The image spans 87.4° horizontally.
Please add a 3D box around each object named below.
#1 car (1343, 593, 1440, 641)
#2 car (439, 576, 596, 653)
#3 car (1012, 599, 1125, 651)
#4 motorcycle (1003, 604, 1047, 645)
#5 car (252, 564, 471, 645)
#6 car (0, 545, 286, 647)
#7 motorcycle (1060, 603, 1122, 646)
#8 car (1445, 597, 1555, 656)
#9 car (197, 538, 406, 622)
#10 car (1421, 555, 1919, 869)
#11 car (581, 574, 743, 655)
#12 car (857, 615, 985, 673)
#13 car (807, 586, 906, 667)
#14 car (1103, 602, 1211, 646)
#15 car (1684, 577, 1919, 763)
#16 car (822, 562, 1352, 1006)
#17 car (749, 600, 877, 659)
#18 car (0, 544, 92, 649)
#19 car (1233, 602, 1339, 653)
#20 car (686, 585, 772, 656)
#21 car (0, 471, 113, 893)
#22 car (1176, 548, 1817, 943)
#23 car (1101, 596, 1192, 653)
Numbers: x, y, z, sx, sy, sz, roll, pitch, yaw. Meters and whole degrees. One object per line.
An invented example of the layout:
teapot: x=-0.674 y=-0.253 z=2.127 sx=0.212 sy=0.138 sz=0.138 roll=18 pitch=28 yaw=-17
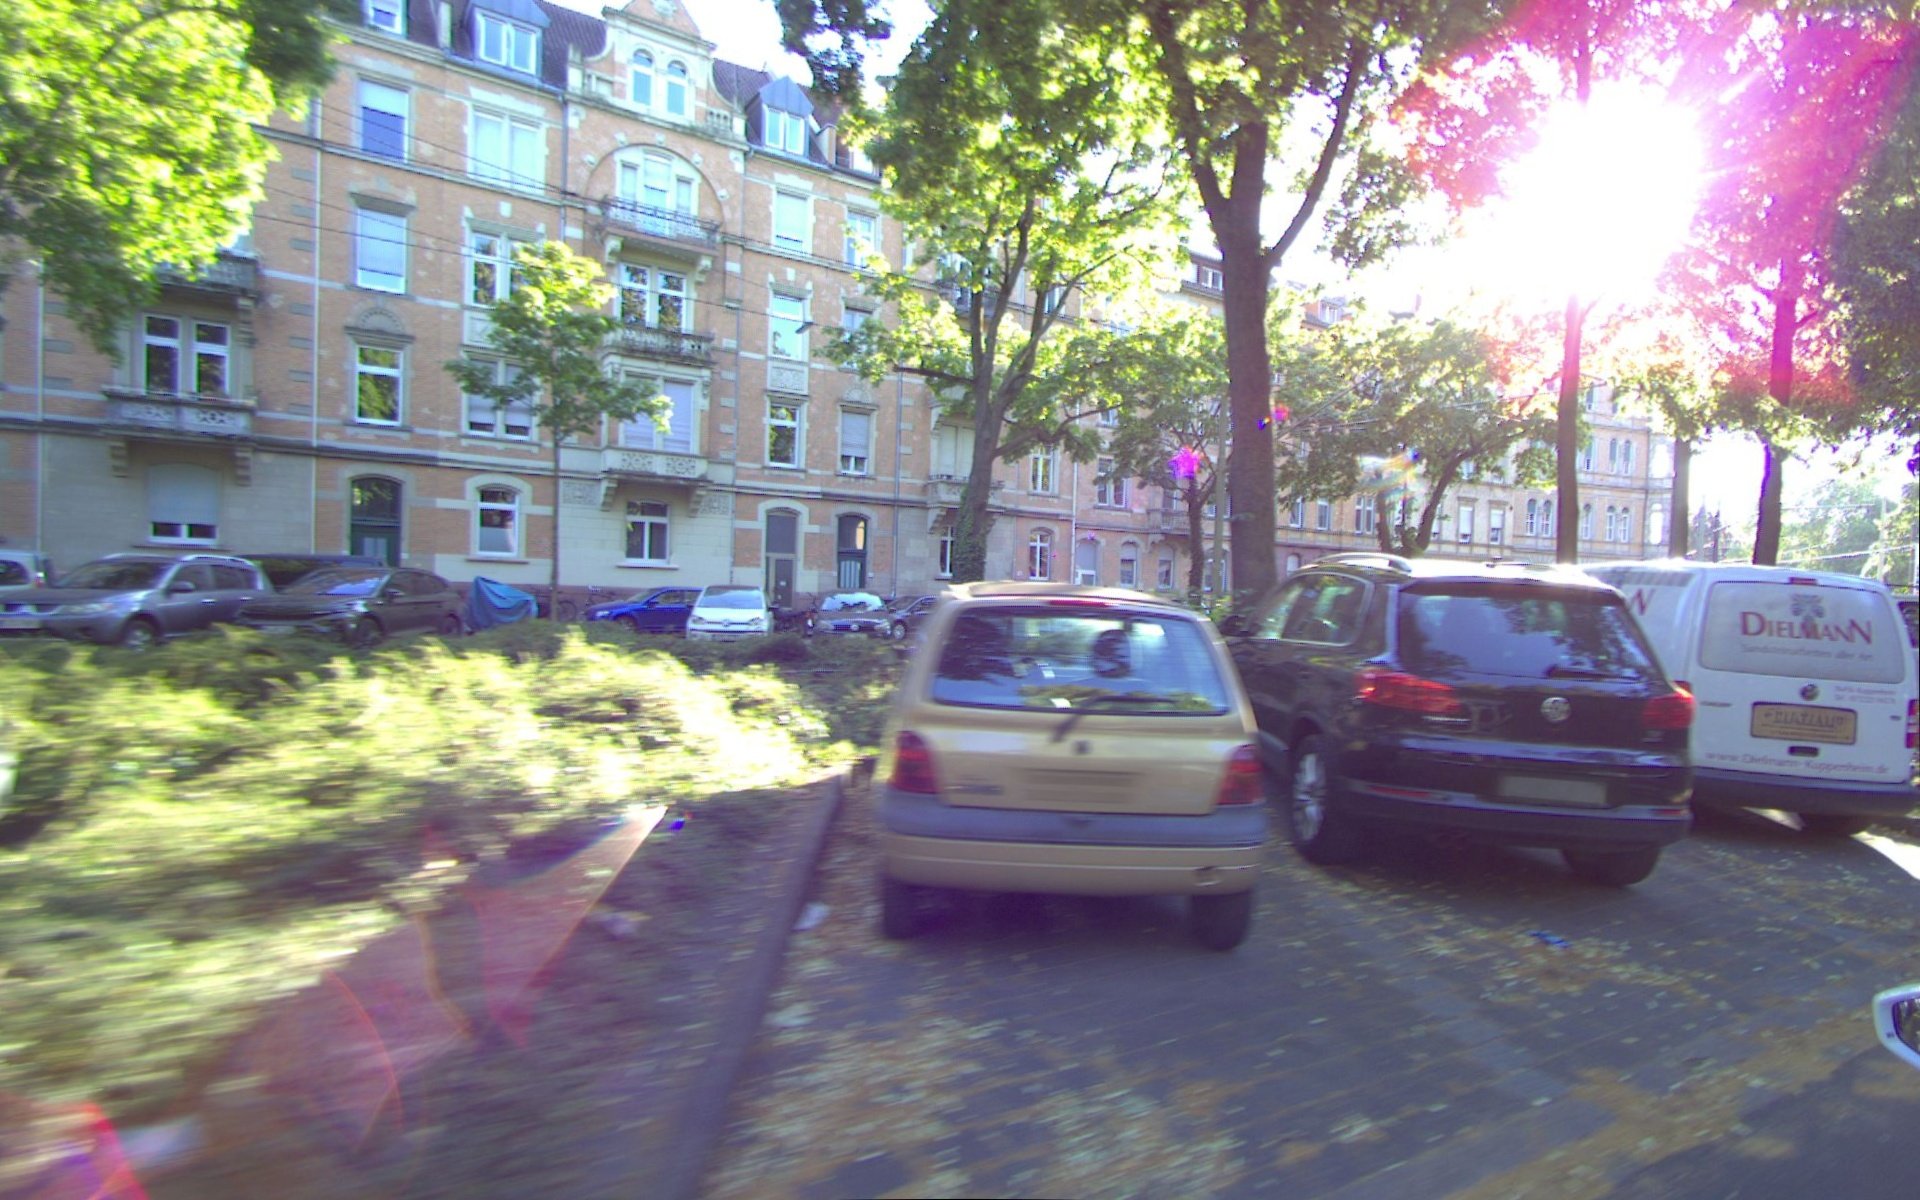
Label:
car: x=20.755 y=0.771 z=48.252 sx=4.948 sy=2.091 sz=1.840 roll=0 pitch=4 yaw=-34
car: x=-11.546 y=0.351 z=26.230 sx=3.472 sy=1.807 sz=1.839 roll=0 pitch=4 yaw=-34
car: x=4.040 y=0.930 z=37.194 sx=3.959 sy=1.799 sz=1.782 roll=1 pitch=0 yaw=-35
motorcycle: x=1.588 y=0.576 z=24.163 sx=1.000 sy=0.901 sz=1.978 roll=2 pitch=0 yaw=5
car: x=-10.075 y=0.054 z=17.306 sx=1.471 sy=1.183 sz=4.202 roll=2 pitch=0 yaw=-4
car: x=-12.487 y=-0.067 z=15.426 sx=1.604 sy=1.327 sz=4.187 roll=2 pitch=0 yaw=-3
motorcycle: x=3.231 y=0.594 z=24.888 sx=1.002 sy=0.968 sz=1.723 roll=1 pitch=0 yaw=-11
car: x=20.243 y=0.931 z=37.845 sx=1.961 sy=2.040 sz=4.000 roll=2 pitch=0 yaw=0
car: x=-15.455 y=-0.396 z=23.759 sx=3.983 sy=1.806 sz=1.839 roll=1 pitch=-2 yaw=-34
car: x=5.525 y=0.598 z=8.117 sx=1.846 sy=1.805 sz=4.161 roll=4 pitch=3 yaw=5
car: x=-8.366 y=0.366 z=28.260 sx=3.958 sy=2.041 sz=1.981 roll=0 pitch=4 yaw=-34
car: x=-1.278 y=1.436 z=33.457 sx=3.959 sy=1.799 sz=1.782 roll=1 pitch=-2 yaw=-35
car: x=-2.313 y=0.538 z=22.386 sx=1.962 sy=1.599 sz=3.996 roll=2 pitch=0 yaw=-6
car: x=7.765 y=0.914 z=39.583 sx=4.017 sy=1.539 sz=1.839 roll=0 pitch=4 yaw=-34
car: x=10.771 y=0.784 z=10.861 sx=1.949 sy=1.805 sz=4.998 roll=3 pitch=3 yaw=-3
car: x=0.438 y=0.602 z=5.281 sx=1.798 sy=1.445 sz=3.426 roll=3 pitch=3 yaw=-1
car: x=-4.543 y=0.887 z=31.193 sx=3.472 sy=1.604 sz=1.839 roll=0 pitch=4 yaw=-34
car: x=-20.507 y=-0.103 z=20.035 sx=4.612 sy=2.032 sz=1.839 roll=0 pitch=4 yaw=-34
car: x=9.930 y=0.790 z=30.891 sx=1.695 sy=1.399 sz=3.734 roll=2 pitch=0 yaw=-7
car: x=-4.816 y=0.379 z=21.205 sx=1.566 sy=1.335 sz=3.991 roll=2 pitch=0 yaw=-11
car: x=-4.631 y=0.359 z=2.117 sx=1.817 sy=1.638 sz=4.518 roll=3 pitch=3 yaw=1
car: x=2.825 y=0.555 z=6.559 sx=1.877 sy=1.666 sz=4.159 roll=3 pitch=3 yaw=1
car: x=5.085 y=0.629 z=27.876 sx=1.674 sy=1.399 sz=3.737 roll=2 pitch=0 yaw=-2
